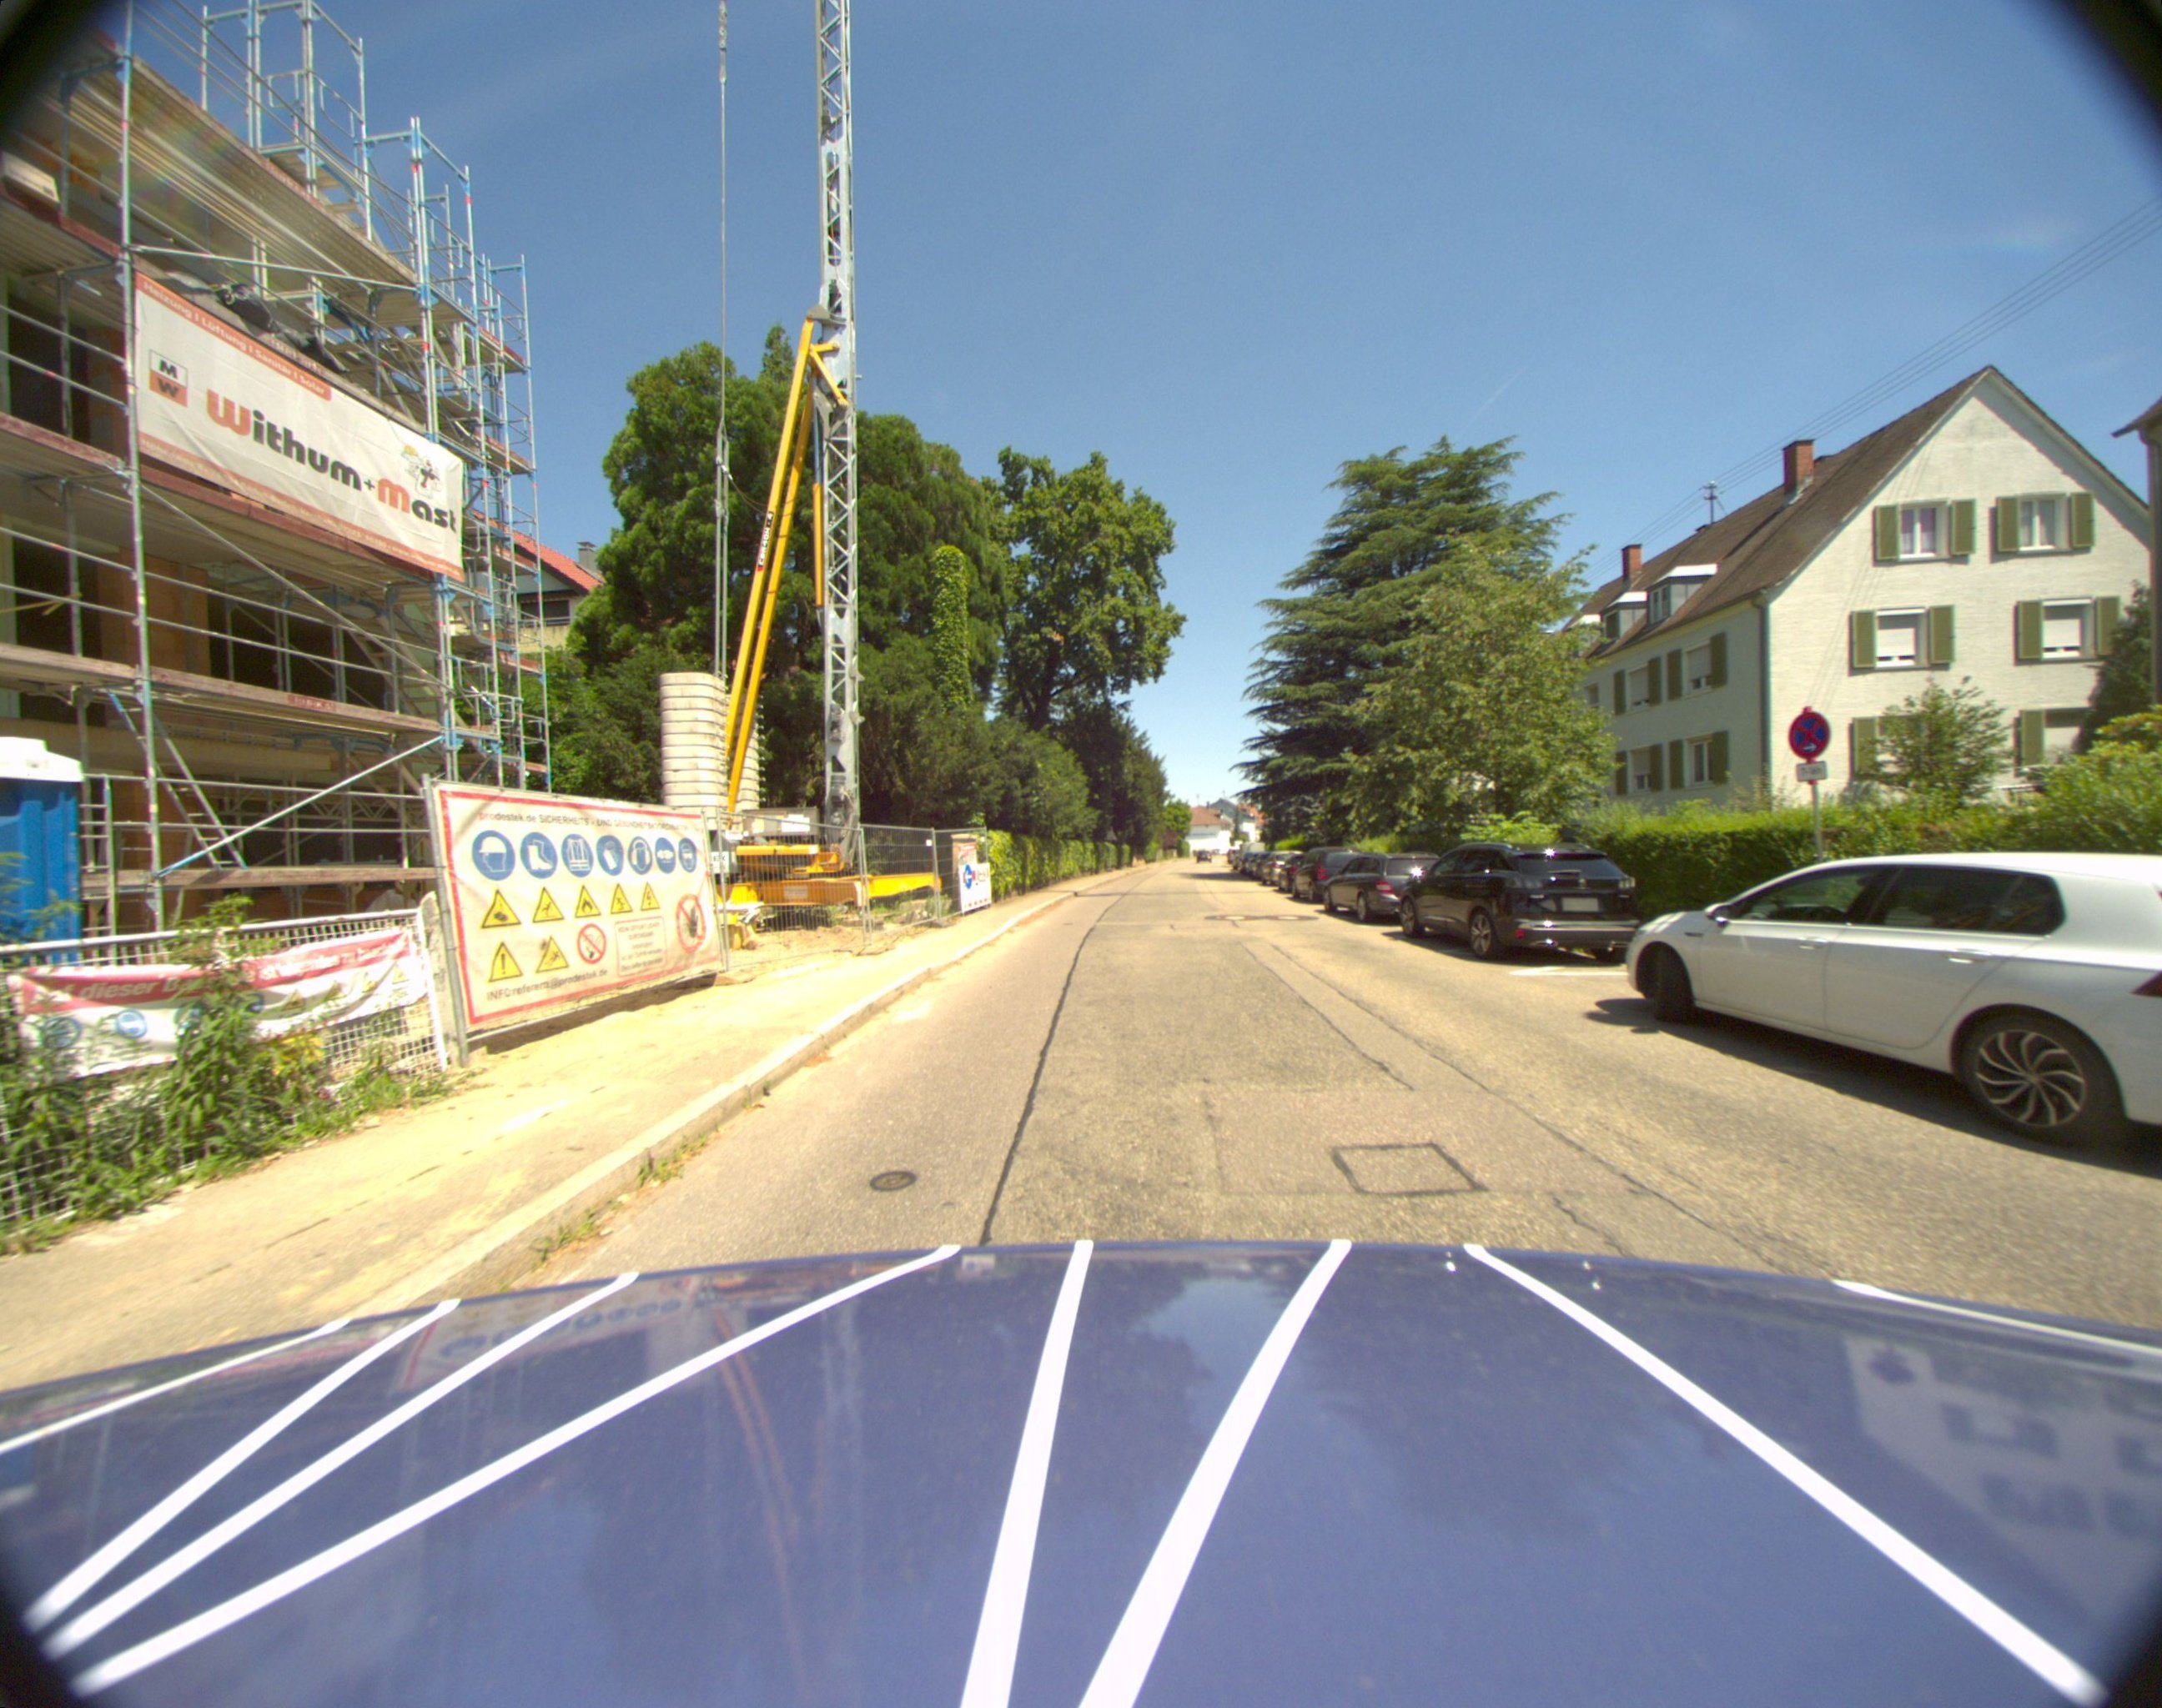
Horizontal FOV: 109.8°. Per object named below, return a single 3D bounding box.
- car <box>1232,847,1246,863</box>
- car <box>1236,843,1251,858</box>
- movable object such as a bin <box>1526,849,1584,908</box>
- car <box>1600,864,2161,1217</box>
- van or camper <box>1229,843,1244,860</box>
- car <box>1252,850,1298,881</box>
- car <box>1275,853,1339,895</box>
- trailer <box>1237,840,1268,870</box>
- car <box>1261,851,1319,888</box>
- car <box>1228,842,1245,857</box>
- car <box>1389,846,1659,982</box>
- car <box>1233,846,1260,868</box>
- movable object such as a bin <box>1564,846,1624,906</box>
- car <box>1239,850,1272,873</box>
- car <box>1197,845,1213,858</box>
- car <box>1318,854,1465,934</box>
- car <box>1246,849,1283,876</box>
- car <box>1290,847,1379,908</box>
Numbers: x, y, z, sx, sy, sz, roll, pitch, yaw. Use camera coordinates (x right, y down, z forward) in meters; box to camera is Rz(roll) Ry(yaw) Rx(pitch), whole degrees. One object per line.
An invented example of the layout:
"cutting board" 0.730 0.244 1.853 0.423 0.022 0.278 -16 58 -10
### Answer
"car" 16.128 0.090 77.597 1.307 1.568 2.323 0 1 11
"car" 22.509 -0.492 105.400 1.891 2.103 4.002 1 1 11
"movable object such as a bin" 10.892 0.542 17.494 0.754 1.324 0.964 -1 1 4
"car" 5.622 0.836 4.999 1.685 1.433 4.247 0 1 3
"van or camper" 16.893 -0.288 82.589 1.582 1.760 3.891 0 1 11
"car" 9.478 0.516 37.453 1.800 1.434 4.275 0 1 9
"car" 8.046 0.660 27.316 1.684 1.393 3.792 0 1 9
"trailer" 12.255 0.050 54.398 1.817 2.021 4.002 1 1 9
"car" 8.734 0.600 32.066 1.800 1.434 3.786 0 1 6
"car" 18.858 -0.569 92.293 1.891 1.749 3.615 1 1 11
"car" 6.220 0.704 11.339 1.685 1.627 4.331 0 1 3
"car" 12.735 0.231 58.677 1.771 1.610 4.551 1 1 9
"movable object such as a bin" 11.764 0.484 17.447 0.754 1.324 0.964 -1 1 4
"car" 11.124 0.442 48.697 1.799 1.434 4.479 0 1 10
"car" 15.189 -0.287 93.165 1.903 1.565 4.143 -1 1 8
"car" 6.611 0.767 16.709 1.685 1.467 4.331 0 1 3
"car" 10.503 0.466 43.681 1.799 1.434 3.899 0 1 10
"car" 7.302 0.601 22.258 1.684 1.630 3.791 0 1 6
